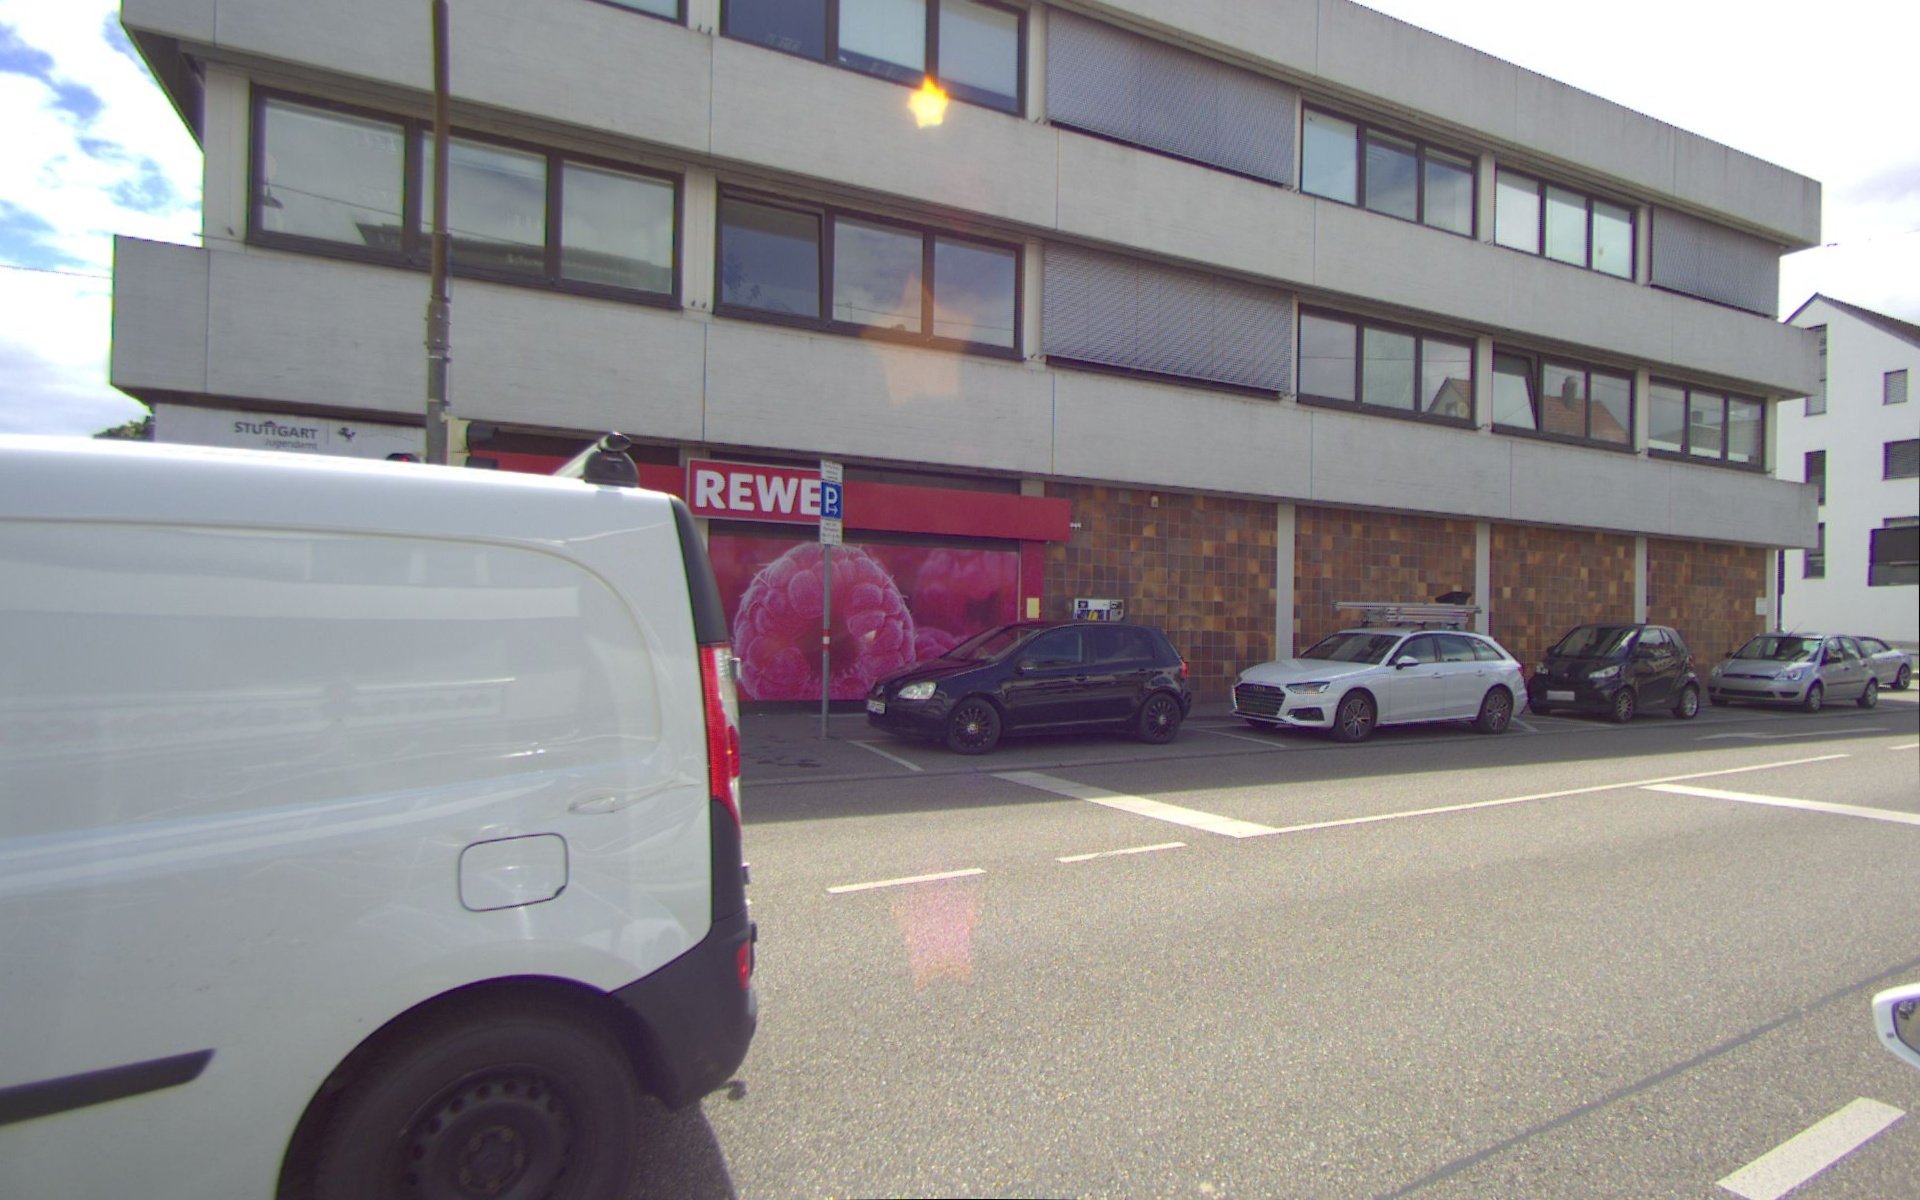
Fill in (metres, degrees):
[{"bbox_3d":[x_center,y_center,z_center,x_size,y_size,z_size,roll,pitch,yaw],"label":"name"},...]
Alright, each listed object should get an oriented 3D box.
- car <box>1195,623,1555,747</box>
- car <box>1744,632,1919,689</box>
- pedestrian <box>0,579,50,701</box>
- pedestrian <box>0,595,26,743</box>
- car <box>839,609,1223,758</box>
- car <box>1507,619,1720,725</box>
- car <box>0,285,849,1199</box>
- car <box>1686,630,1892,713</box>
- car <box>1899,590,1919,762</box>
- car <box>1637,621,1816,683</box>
[{"bbox_3d":[5.907,1.095,14.215,4.888,1.463,2.037,1,0,-27],"label":"car"},{"bbox_3d":[22.998,1.545,26.365,4.792,1.376,1.945,1,-1,-27],"label":"car"},{"bbox_3d":[-13.810,0.564,14.427,0.803,1.716,0.780,0,-1,17],"label":"pedestrian"},{"bbox_3d":[-10.725,0.730,10.785,0.831,1.575,0.820,1,0,31],"label":"pedestrian"},{"bbox_3d":[0.884,0.903,12.195,4.232,1.495,2.035,1,0,-29],"label":"car"},{"bbox_3d":[10.955,1.143,16.855,3.017,1.576,1.730,1,0,-27],"label":"car"},{"bbox_3d":[-2.460,0.478,2.130,4.064,1.956,1.806,1,-2,-30],"label":"car"},{"bbox_3d":[16.437,1.346,19.885,4.096,1.441,1.715,1,0,-28],"label":"car"},{"bbox_3d":[13.086,0.872,11.710,4.822,1.901,1.938,1,-2,-32],"label":"car"},{"bbox_3d":[21.986,1.474,28.798,4.860,1.640,1.947,1,-4,-24],"label":"car"}]
